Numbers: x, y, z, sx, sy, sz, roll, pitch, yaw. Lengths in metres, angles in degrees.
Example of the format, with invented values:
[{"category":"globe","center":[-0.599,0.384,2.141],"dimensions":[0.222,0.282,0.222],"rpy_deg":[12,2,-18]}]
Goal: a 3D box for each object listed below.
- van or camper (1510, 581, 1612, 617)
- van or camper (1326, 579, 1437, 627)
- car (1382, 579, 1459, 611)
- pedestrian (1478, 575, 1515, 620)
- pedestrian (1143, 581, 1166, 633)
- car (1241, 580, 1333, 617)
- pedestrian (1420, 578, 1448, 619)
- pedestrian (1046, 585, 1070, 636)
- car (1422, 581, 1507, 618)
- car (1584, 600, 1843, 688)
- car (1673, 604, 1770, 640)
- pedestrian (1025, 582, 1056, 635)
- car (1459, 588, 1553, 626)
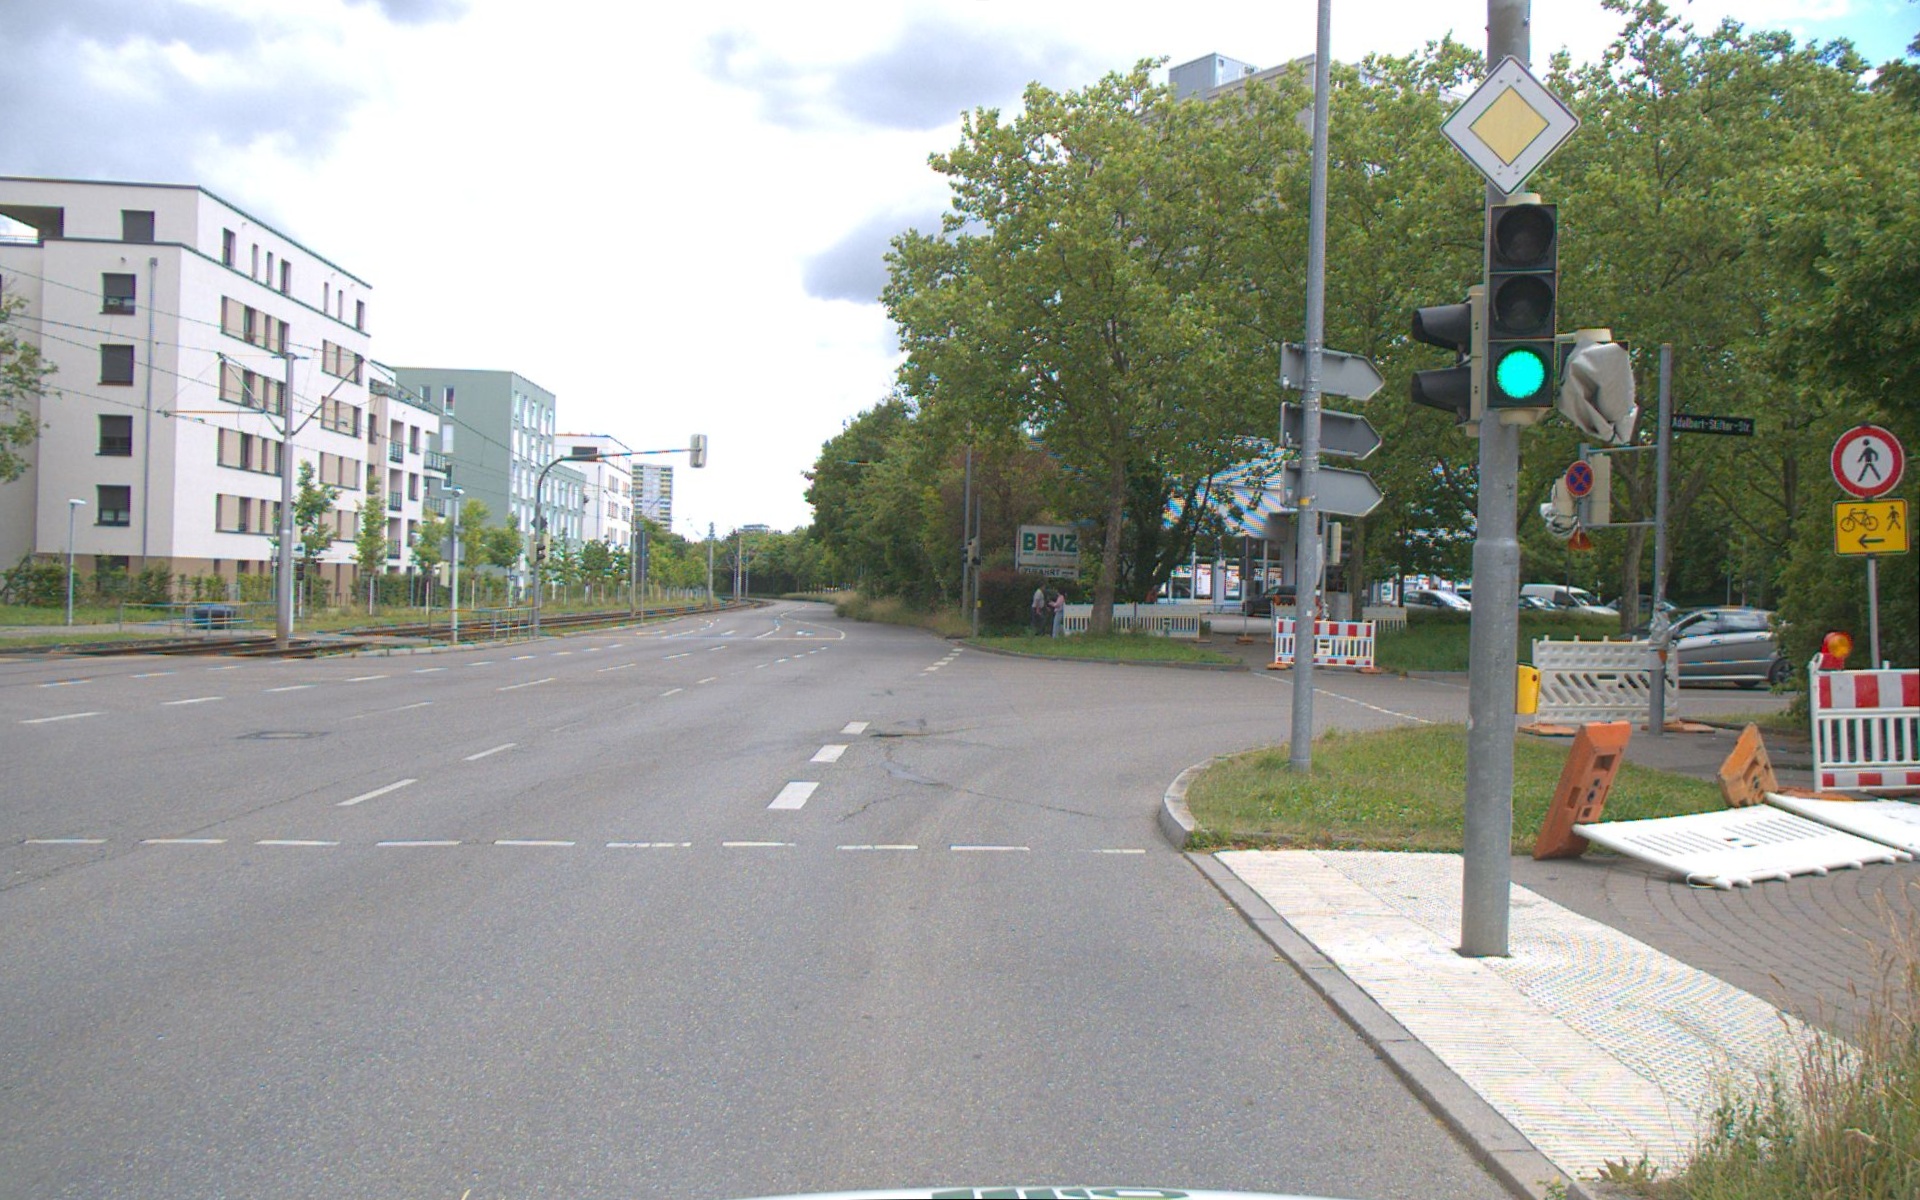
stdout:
[{"category":"van or camper","center":[24.012,-0.042,66.182],"dimensions":[1.499,1.380,3.732],"rpy_deg":[2,-1,-33]},{"category":"van or camper","center":[15.558,0.099,61.245],"dimensions":[1.819,1.713,3.964],"rpy_deg":[0,0,-28]},{"category":"car","center":[21.566,-0.242,77.556],"dimensions":[1.465,1.429,3.373],"rpy_deg":[2,-1,-31]},{"category":"pedestrian","center":[22.979,-0.089,70.822],"dimensions":[1.056,1.904,1.053],"rpy_deg":[1,-1,-20]},{"category":"pedestrian","center":[6.010,0.220,51.063],"dimensions":[0.639,1.565,0.773],"rpy_deg":[1,-1,4]},{"category":"car","center":[14.148,-0.050,71.744],"dimensions":[1.707,1.526,4.232],"rpy_deg":[1,-1,-27]},{"category":"pedestrian","center":[18.808,-0.067,65.600],"dimensions":[0.779,1.614,0.798],"rpy_deg":[1,-1,-9]},{"category":"pedestrian","center":[2.929,0.312,49.328],"dimensions":[0.682,1.515,0.688],"rpy_deg":[1,-1,3]},{"category":"car","center":[24.153,-0.039,79.248],"dimensions":[1.650,1.663,3.783],"rpy_deg":[2,1,-30]},{"category":"car","center":[14.839,0.851,32.728],"dimensions":[4.307,1.614,1.772],"rpy_deg":[1,-1,0]},{"category":"car","center":[34.269,0.989,74.518],"dimensions":[1.707,1.526,3.712],"rpy_deg":[1,-1,-27]},{"category":"pedestrian","center":[2.472,0.263,50.705],"dimensions":[0.831,1.614,0.795],"rpy_deg":[1,-1,-4]},{"category":"car","center":[21.169,0.268,64.254],"dimensions":[1.464,1.429,3.375],"rpy_deg":[1,-1,-30]}]
